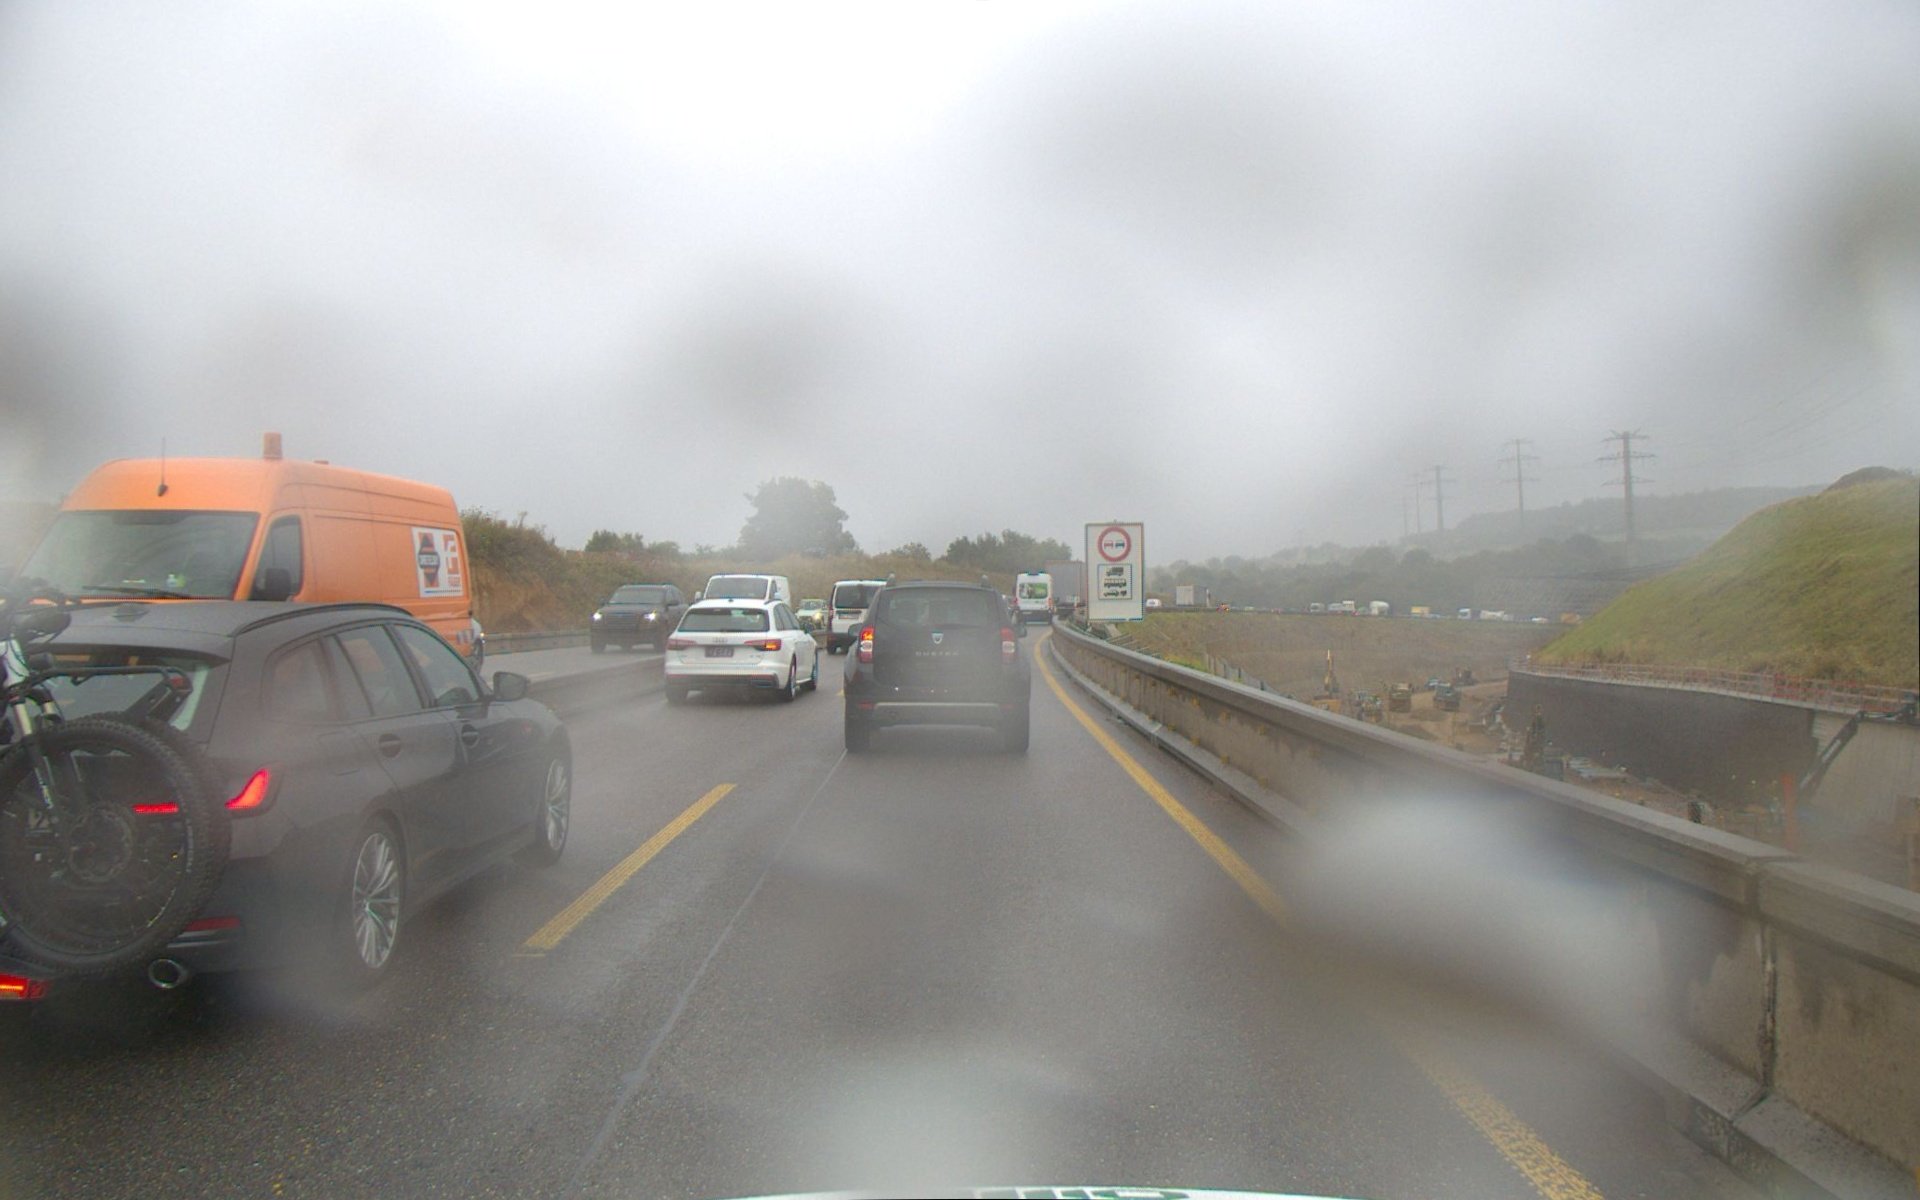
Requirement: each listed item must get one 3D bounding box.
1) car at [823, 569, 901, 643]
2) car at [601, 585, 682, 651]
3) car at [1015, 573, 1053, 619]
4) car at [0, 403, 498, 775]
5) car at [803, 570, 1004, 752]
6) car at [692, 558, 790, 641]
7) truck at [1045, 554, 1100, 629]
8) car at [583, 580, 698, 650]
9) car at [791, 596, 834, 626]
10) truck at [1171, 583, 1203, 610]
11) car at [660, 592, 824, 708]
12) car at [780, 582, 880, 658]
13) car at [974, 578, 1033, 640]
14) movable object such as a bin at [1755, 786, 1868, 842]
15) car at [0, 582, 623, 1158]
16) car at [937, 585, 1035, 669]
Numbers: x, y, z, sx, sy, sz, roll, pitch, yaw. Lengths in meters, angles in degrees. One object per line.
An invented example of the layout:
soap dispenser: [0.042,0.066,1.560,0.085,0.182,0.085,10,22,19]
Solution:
car: [-2.510,0.166,43.199,1.789,1.847,4.000,1,-1,0]
car: [-8.284,0.443,43.171,1.500,1.629,3.166,1,1,0]
car: [4.132,-0.208,91.467,1.787,2.480,4.160,0,-1,6]
car: [-6.217,-0.110,15.248,2.012,2.622,7.020,1,1,-1]
car: [-0.484,0.568,16.843,1.789,1.619,4.000,1,-1,1]
car: [-5.697,-0.051,43.569,1.953,2.034,4.969,1,1,-1]
truck: [8.208,-0.544,119.369,3.468,5.166,10.448,0,-1,6]
car: [-8.374,0.355,43.757,1.952,1.716,4.970,1,1,1]
car: [-7.051,0.501,79.432,1.547,1.407,4.001,0,0,2]
truck: [32.053,-0.525,233.458,3.398,3.780,8.424,-1,0,15]
car: [-3.055,0.678,23.894,1.789,1.525,4.000,1,-1,0]
car: [-2.732,0.416,35.476,1.789,1.525,4.000,1,-1,0]
car: [1.397,0.289,52.200,1.788,1.847,4.001,1,-1,2]
movable object such as a bin: [36.022,9.025,70.042,1.979,2.049,3.790,4,-4,-37]
car: [-2.956,0.722,7.399,1.699,1.488,5.630,0,2,0]
car: [0.492,0.515,32.305,1.789,1.525,4.000,1,-1,0]
